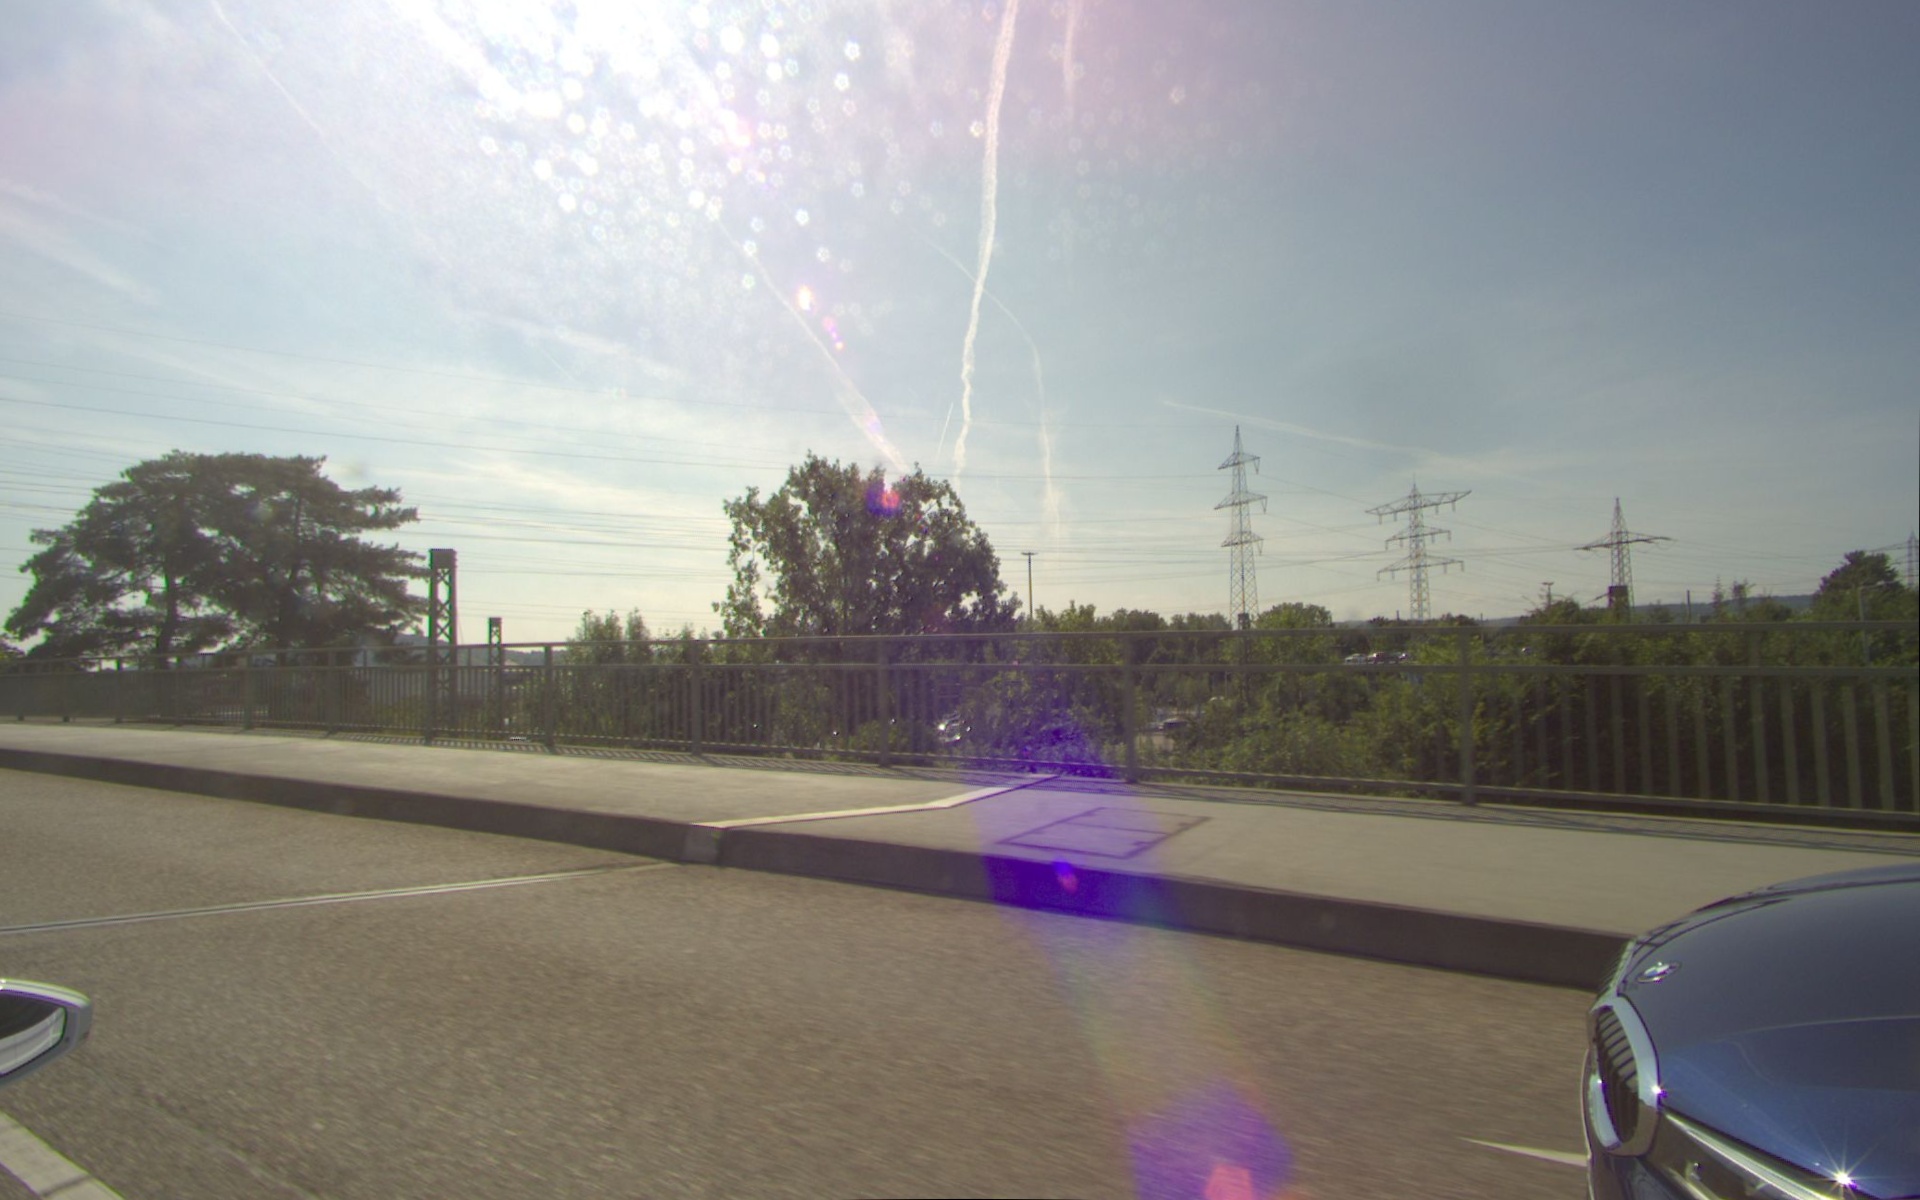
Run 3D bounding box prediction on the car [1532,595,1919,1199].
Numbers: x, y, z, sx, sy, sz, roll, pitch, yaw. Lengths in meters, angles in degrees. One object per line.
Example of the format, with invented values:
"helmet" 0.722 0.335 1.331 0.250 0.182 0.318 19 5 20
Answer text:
"car" 3.107 0.677 0.837 4.457 1.501 1.785 -4 -4 32
